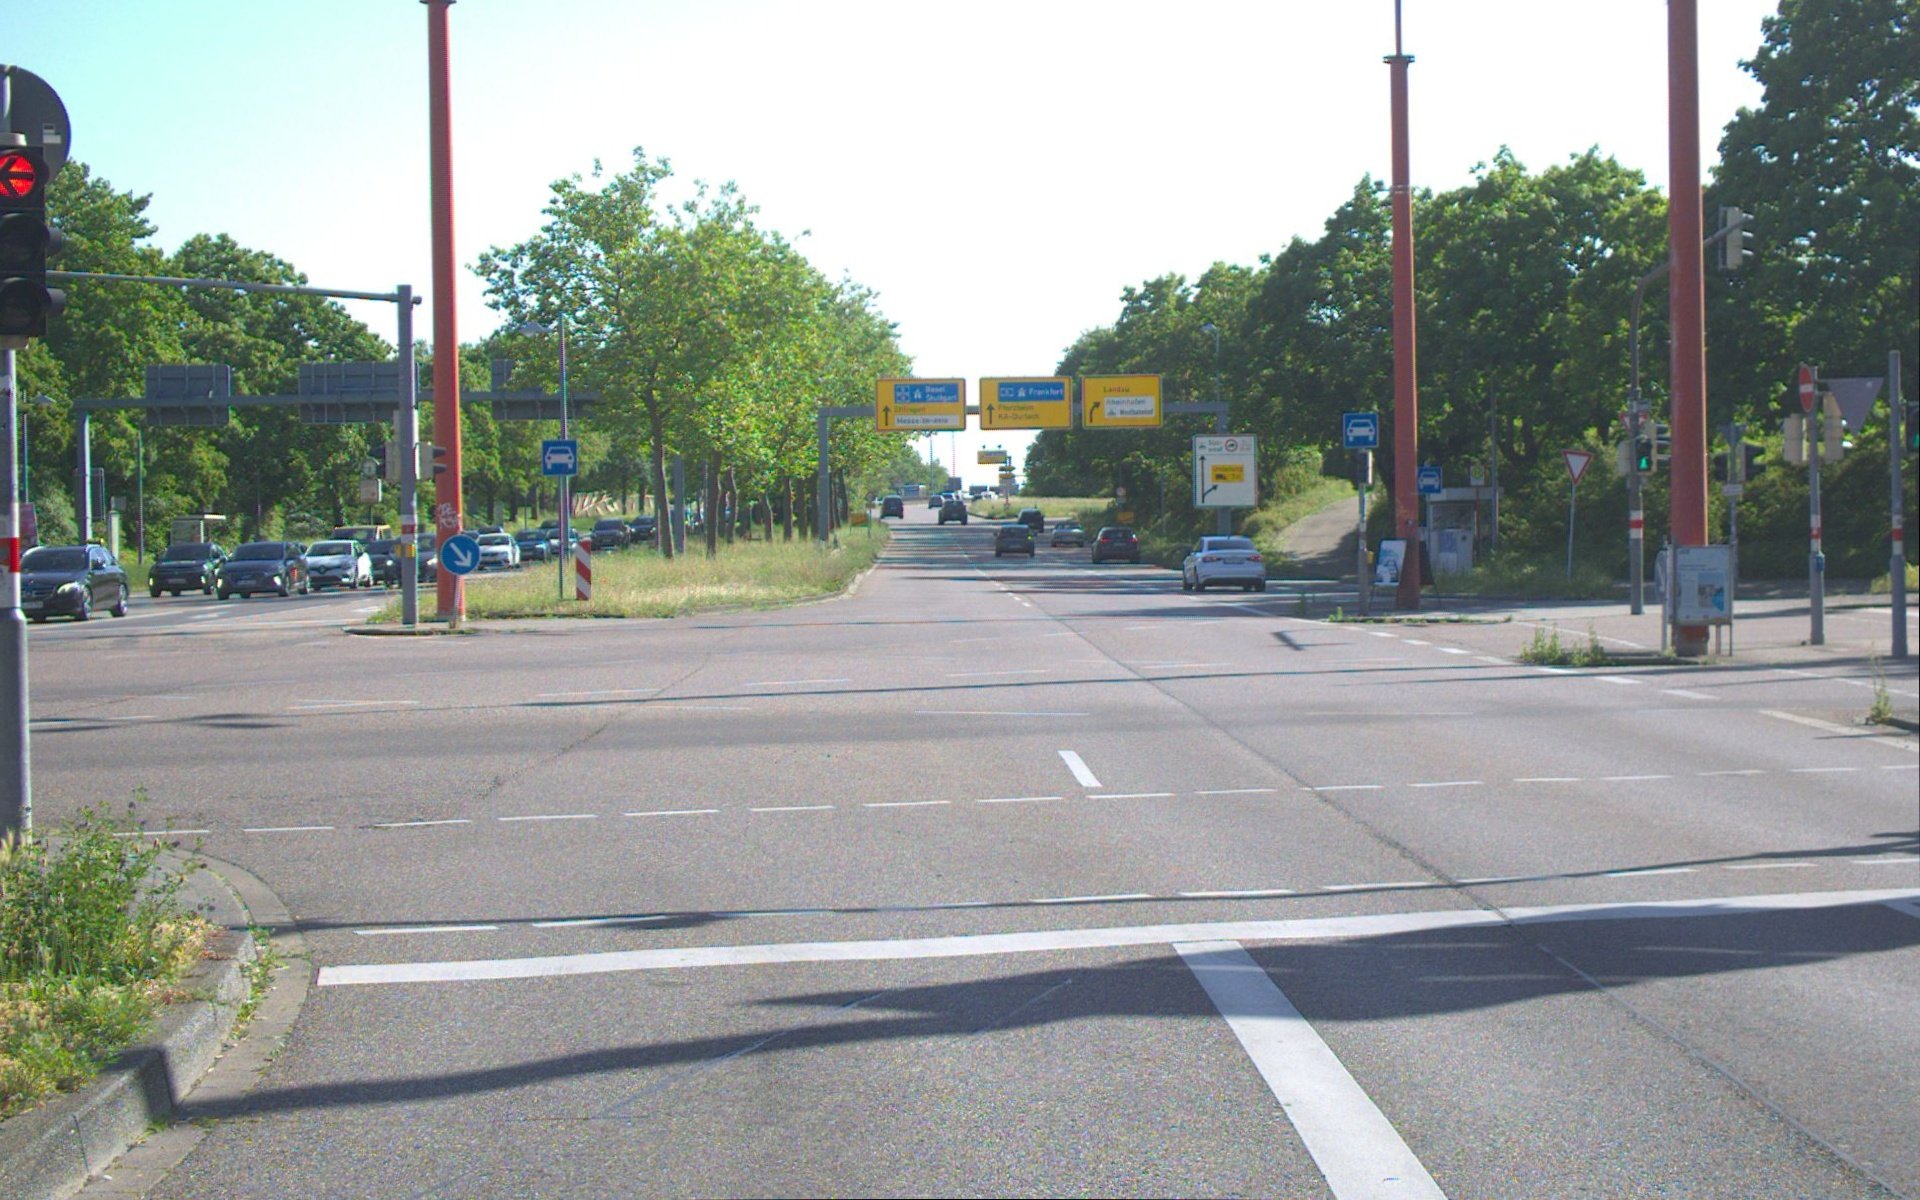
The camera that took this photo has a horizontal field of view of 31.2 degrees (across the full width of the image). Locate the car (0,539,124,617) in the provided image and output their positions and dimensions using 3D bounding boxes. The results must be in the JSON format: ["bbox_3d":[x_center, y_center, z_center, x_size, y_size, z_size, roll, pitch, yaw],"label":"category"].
[{"bbox_3d":[-17.817,-0.452,67.377,1.876,1.480,4.606,0,1,-2],"label":"car"}]

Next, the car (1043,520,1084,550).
[{"bbox_3d":[5.411,-3.385,180.016,1.993,1.535,4.000,0,1,0],"label":"car"}]

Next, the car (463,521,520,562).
[{"bbox_3d":[-18.675,-2.342,137.090,1.704,1.590,4.000,0,1,0],"label":"car"}]

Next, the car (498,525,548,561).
[{"bbox_3d":[-19.008,-2.473,149.688,1.704,1.553,3.803,0,1,0],"label":"car"}]

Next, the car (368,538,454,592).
[{"bbox_3d":[-15.149,-0.972,95.006,1.701,1.416,4.000,2,1,0],"label":"car"}]

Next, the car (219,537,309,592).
[{"bbox_3d":[-18.069,-0.947,89.379,1.548,1.372,4.263,-1,1,-1],"label":"car"}]

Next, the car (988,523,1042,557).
[{"bbox_3d":[2.477,-2.735,156.319,1.993,1.491,4.001,-1,1,-6],"label":"car"}]

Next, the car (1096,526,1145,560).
[{"bbox_3d":[6.389,-2.278,137.051,1.738,1.337,3.082,-1,1,0],"label":"car"}]

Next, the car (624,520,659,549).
[{"bbox_3d":[-19.241,-3.934,207.732,1.657,1.741,4.000,0,1,1],"label":"car"}]

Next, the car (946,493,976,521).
[{"bbox_3d":[0.082,-7.020,259.242,2.154,2.006,4.000,-1,2,0],"label":"car"}]

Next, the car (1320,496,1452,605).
[{"bbox_3d":[7.710,-0.911,61.970,1.994,1.881,3.998,0,1,12],"label":"car"}]

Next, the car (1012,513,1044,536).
[{"bbox_3d":[4.592,-5.112,231.716,1.994,1.535,4.000,-1,1,3],"label":"car"}]

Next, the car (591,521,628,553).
[{"bbox_3d":[-19.137,-3.457,187.823,1.625,1.733,4.000,-1,1,0],"label":"car"}]

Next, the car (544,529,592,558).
[{"bbox_3d":[-18.398,-2.655,161.616,2.003,1.303,4.001,-1,1,-3],"label":"car"}]

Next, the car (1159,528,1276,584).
[{"bbox_3d":[6.515,-1.145,87.540,2.054,1.366,4.393,-1,1,-8],"label":"car"}]

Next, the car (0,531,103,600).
[{"bbox_3d":[-21.463,-0.810,80.617,1.876,1.570,4.000,0,1,-2],"label":"car"}]

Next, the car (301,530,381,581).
[{"bbox_3d":[-18.003,-1.310,100.077,1.605,1.454,3.950,-1,1,0],"label":"car"}]

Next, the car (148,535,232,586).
[{"bbox_3d":[-22.534,-1.164,100.707,1.544,1.428,3.886,-2,1,0],"label":"car"}]
